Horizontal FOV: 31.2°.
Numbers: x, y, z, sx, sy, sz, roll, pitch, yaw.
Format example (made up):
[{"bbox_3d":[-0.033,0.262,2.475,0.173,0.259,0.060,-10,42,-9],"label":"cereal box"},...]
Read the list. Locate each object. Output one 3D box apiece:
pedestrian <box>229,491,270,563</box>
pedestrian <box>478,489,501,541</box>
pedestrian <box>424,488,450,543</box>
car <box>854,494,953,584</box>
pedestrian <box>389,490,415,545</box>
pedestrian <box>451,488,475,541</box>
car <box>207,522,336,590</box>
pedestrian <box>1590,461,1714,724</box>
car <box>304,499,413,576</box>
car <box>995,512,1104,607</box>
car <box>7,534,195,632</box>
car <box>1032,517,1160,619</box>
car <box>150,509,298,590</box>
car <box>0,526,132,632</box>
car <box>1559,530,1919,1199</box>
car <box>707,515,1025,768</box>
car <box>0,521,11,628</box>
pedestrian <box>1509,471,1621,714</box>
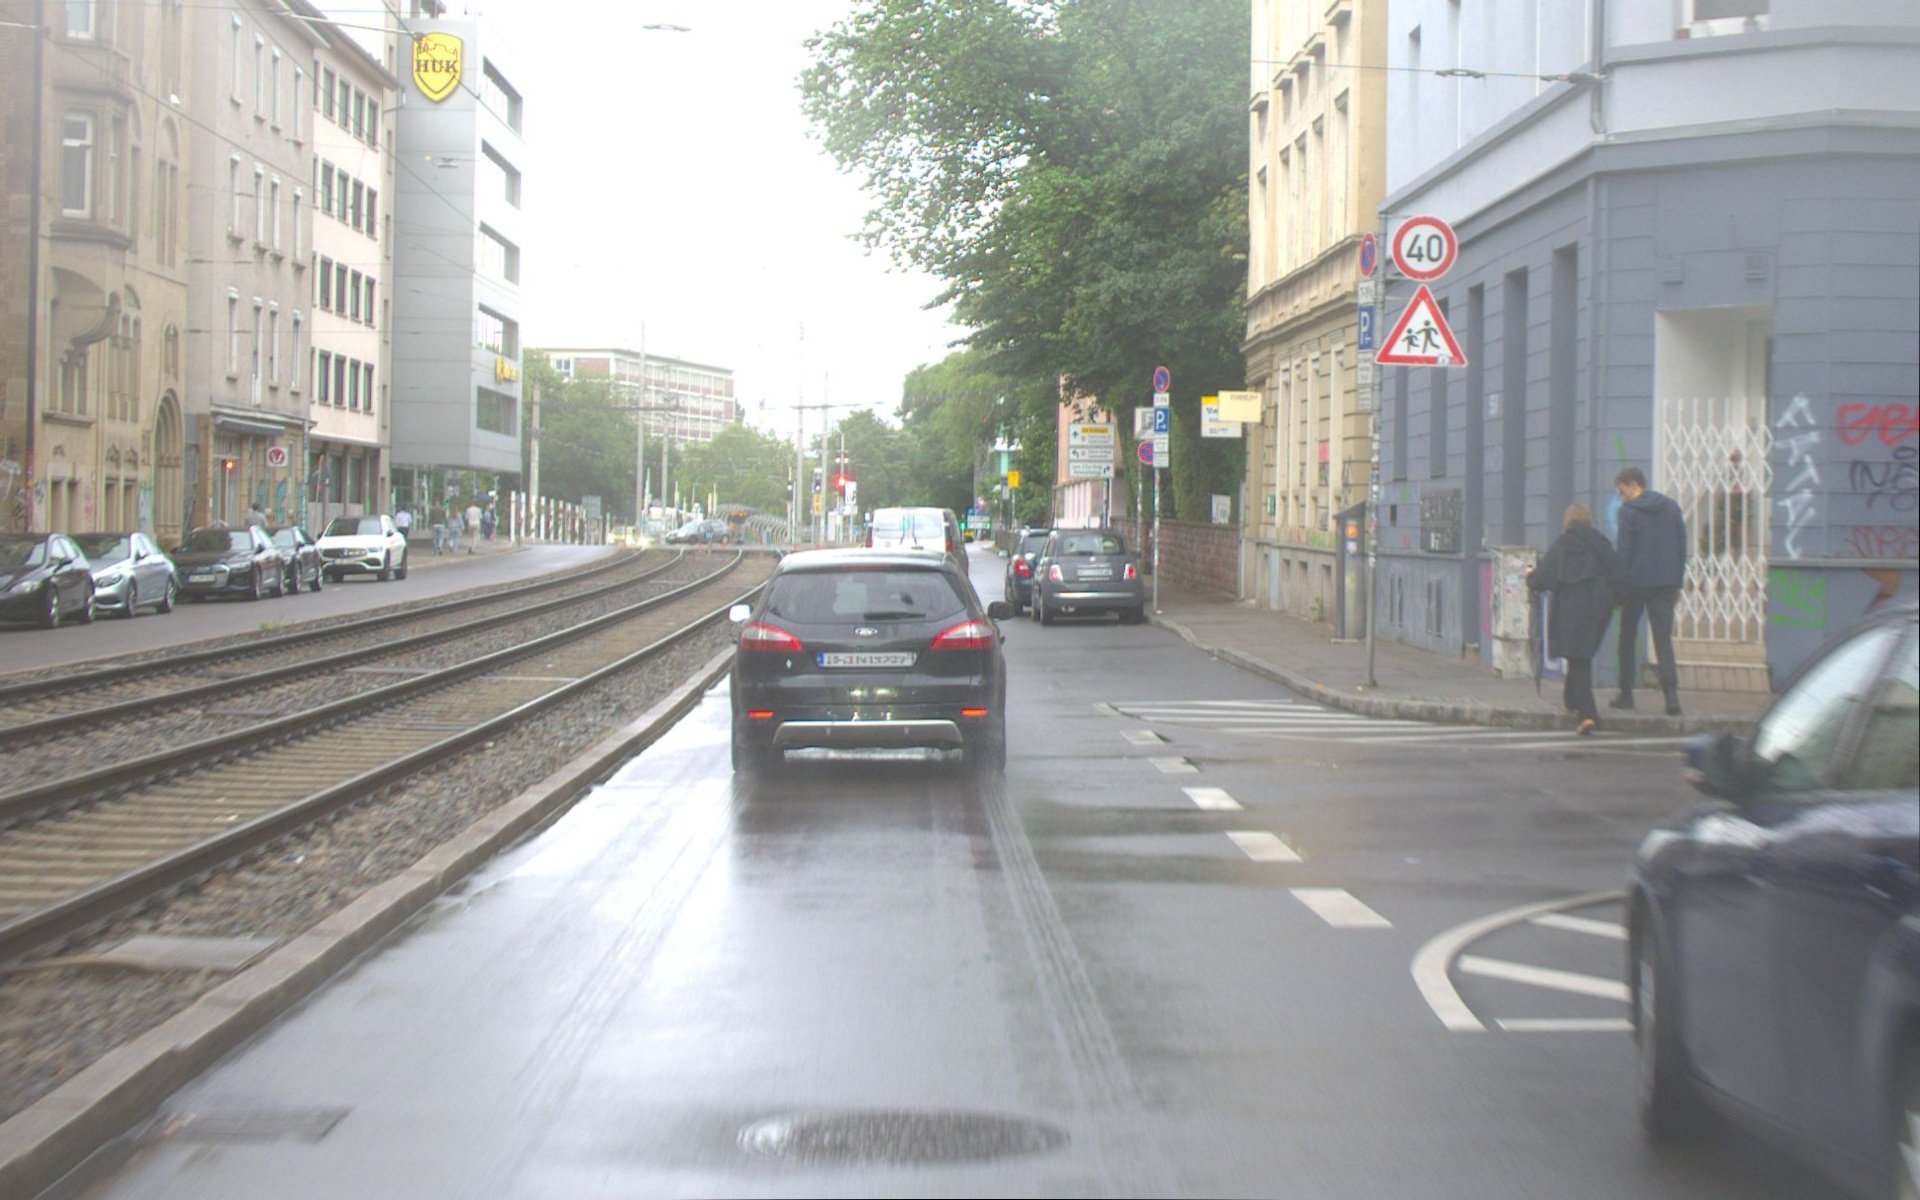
[{"bbox_3d":[-17.558,-1.802,84.964,0.801,1.744,0.984,1,1,-2],"label":"pedestrian"},{"bbox_3d":[-16.848,-3.051,123.158,0.744,1.847,0.839,0,0,-2],"label":"pedestrian"},{"bbox_3d":[-17.787,-2.869,116.954,0.744,1.847,0.839,0,0,-2],"label":"pedestrian"},{"bbox_3d":[-1.148,-1.257,71.556,1.993,1.810,4.271,0,1,0],"label":"car"},{"bbox_3d":[-18.965,-2.806,116.823,0.744,1.847,0.839,0,0,-2],"label":"pedestrian"},{"bbox_3d":[-17.815,-3.062,123.271,0.744,1.847,0.839,0,0,-2],"label":"pedestrian"},{"bbox_3d":[-14.896,-0.971,74.573,1.993,1.371,4.238,1,1,-1],"label":"car"},{"bbox_3d":[5.377,-0.069,26.757,0.736,2.006,0.821,1,2,-2],"label":"pedestrian"},{"bbox_3d":[-14.991,-1.580,85.914,1.993,1.833,5.072,1,1,-2],"label":"car"},{"bbox_3d":[1.516,-0.721,59.273,1.642,1.510,4.039,1,2,-2],"label":"car"},{"bbox_3d":[-14.477,-0.322,58.204,1.993,1.514,4.992,1,1,-1],"label":"car"},{"bbox_3d":[2.119,-0.542,54.601,1.738,1.484,4.001,1,2,-2],"label":"car"},{"bbox_3d":[-14.647,-1.029,68.634,1.993,1.514,4.676,1,1,-1],"label":"car"},{"bbox_3d":[-14.182,-0.352,52.725,1.993,1.514,4.209,1,1,-1],"label":"car"},{"bbox_3d":[2.568,0.647,7.601,1.720,1.510,4.259,1,2,0],"label":"car"},{"bbox_3d":[-0.606,0.239,23.796,1.993,1.588,4.271,0,1,0],"label":"car"},{"bbox_3d":[-14.478,-0.339,46.700,1.993,1.514,4.436,1,1,-1],"label":"car"},{"bbox_3d":[4.678,-0.069,26.637,0.661,1.845,0.821,1,2,-2],"label":"pedestrian"}]
